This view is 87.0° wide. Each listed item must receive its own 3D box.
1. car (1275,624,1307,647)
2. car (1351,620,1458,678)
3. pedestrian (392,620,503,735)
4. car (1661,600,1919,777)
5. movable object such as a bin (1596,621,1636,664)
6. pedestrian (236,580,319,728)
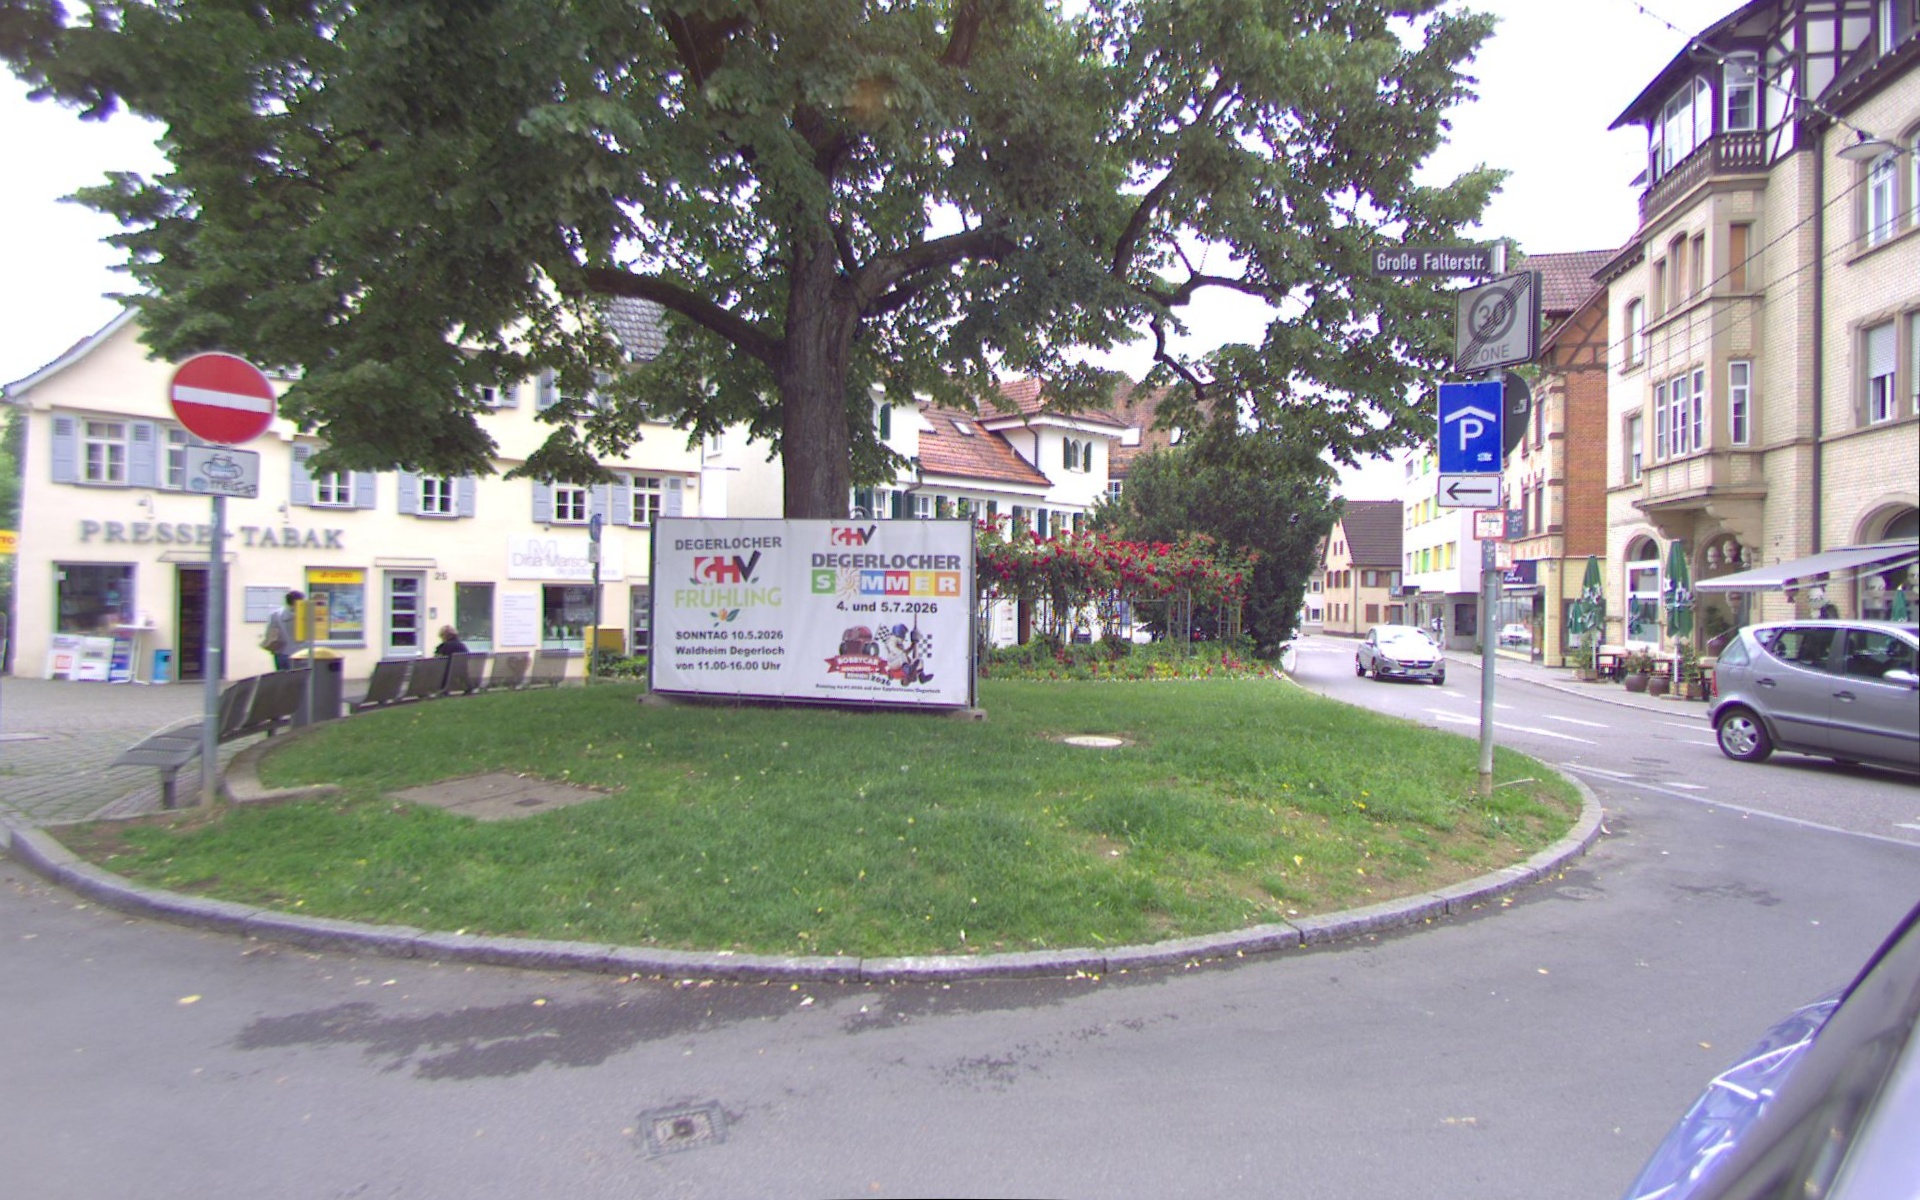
[{"bbox_3d":[25.639,2.716,78.418,1.972,1.648,3.984,0,0,13],"label":"car"},{"bbox_3d":[11.763,1.242,27.037,1.728,1.372,3.987,0,-1,10],"label":"car"},{"bbox_3d":[-6.563,0.959,12.991,0.848,1.398,0.967,0,-1,24],"label":"pedestrian"},{"bbox_3d":[9.690,0.853,10.309,1.857,1.648,4.006,2,-1,-10],"label":"car"},{"bbox_3d":[22.647,1.474,34.933,0.932,1.395,0.819,-2,2,19],"label":"movable object such as a bin"},{"bbox_3d":[-8.489,0.645,12.586,0.781,1.767,0.711,1,-1,-39],"label":"pedestrian"}]
